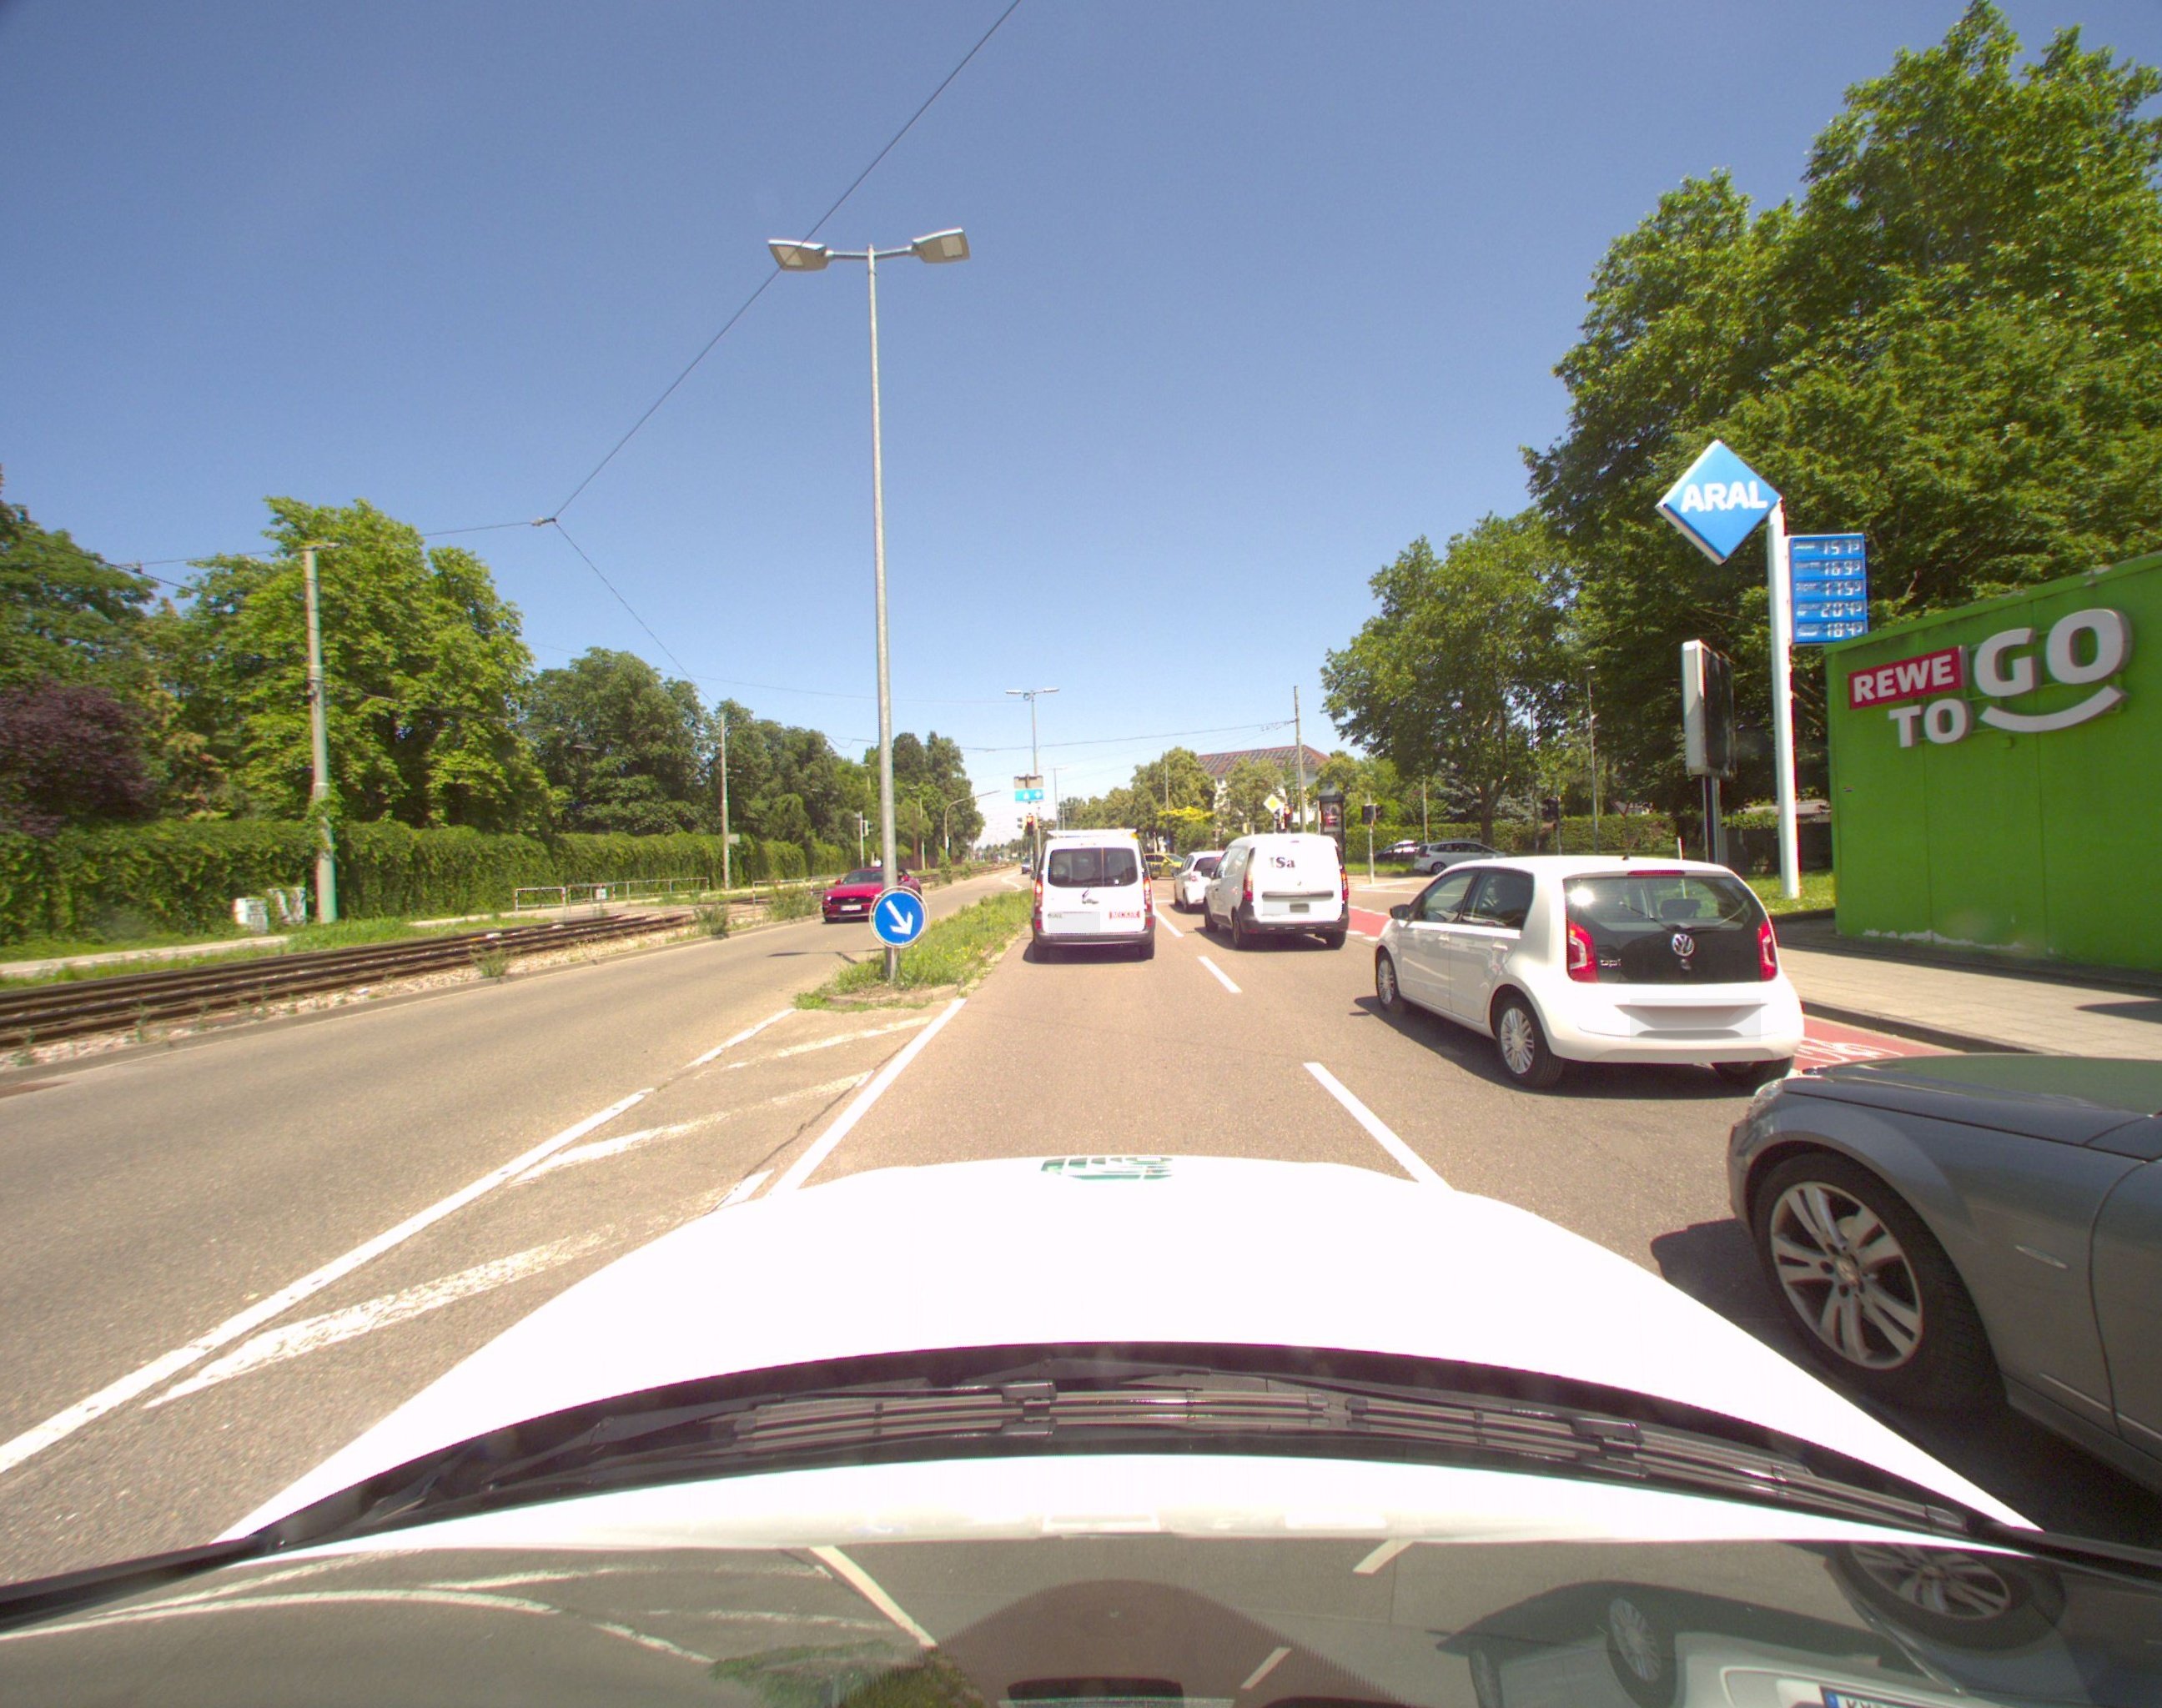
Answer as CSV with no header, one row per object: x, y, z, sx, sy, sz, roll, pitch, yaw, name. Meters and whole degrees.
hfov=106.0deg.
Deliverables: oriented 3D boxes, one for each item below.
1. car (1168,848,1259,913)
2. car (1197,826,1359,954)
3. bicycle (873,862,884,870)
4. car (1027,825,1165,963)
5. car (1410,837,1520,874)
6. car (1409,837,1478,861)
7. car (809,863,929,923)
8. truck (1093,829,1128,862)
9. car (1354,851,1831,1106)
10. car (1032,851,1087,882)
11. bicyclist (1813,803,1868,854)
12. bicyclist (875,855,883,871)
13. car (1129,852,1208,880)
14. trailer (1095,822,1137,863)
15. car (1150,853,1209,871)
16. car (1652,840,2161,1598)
3.379,0.630,21.501,1.750,1.486,4.000,-2,0,0,car
3.187,0.528,13.963,1.705,1.830,4.012,-2,0,-1,car
-19.028,1.125,76.587,0.559,0.647,1.720,-2,0,1,bicycle
0.207,0.543,13.012,1.861,1.836,3.848,-1,0,0,car
18.519,0.081,39.445,4.414,1.617,2.005,-2,0,9,car
25.042,-0.361,56.410,3.964,1.508,2.005,-2,0,8,car
-5.702,1.003,22.561,1.976,1.358,4.540,-2,0,2,car
3.356,-0.948,95.657,3.565,3.632,8.805,-2,0,-1,truck
3.556,0.721,6.480,1.601,1.451,3.521,-1,0,1,car
-1.410,0.794,52.135,2.004,1.860,3.966,-2,0,-26,car
26.584,-0.887,28.514,0.960,1.739,1.121,-2,0,-27,bicyclist
-19.029,0.853,76.600,0.556,1.478,0.562,-2,0,1,bicyclist
4.685,0.663,43.850,3.950,1.379,1.554,-2,0,35,car
3.618,-1.131,86.732,3.519,4.050,8.968,-2,0,-3,trailer
7.383,0.596,61.138,3.948,1.222,1.875,-2,0,34,car
2.962,0.703,0.790,1.789,1.449,4.419,-2,0,2,car
